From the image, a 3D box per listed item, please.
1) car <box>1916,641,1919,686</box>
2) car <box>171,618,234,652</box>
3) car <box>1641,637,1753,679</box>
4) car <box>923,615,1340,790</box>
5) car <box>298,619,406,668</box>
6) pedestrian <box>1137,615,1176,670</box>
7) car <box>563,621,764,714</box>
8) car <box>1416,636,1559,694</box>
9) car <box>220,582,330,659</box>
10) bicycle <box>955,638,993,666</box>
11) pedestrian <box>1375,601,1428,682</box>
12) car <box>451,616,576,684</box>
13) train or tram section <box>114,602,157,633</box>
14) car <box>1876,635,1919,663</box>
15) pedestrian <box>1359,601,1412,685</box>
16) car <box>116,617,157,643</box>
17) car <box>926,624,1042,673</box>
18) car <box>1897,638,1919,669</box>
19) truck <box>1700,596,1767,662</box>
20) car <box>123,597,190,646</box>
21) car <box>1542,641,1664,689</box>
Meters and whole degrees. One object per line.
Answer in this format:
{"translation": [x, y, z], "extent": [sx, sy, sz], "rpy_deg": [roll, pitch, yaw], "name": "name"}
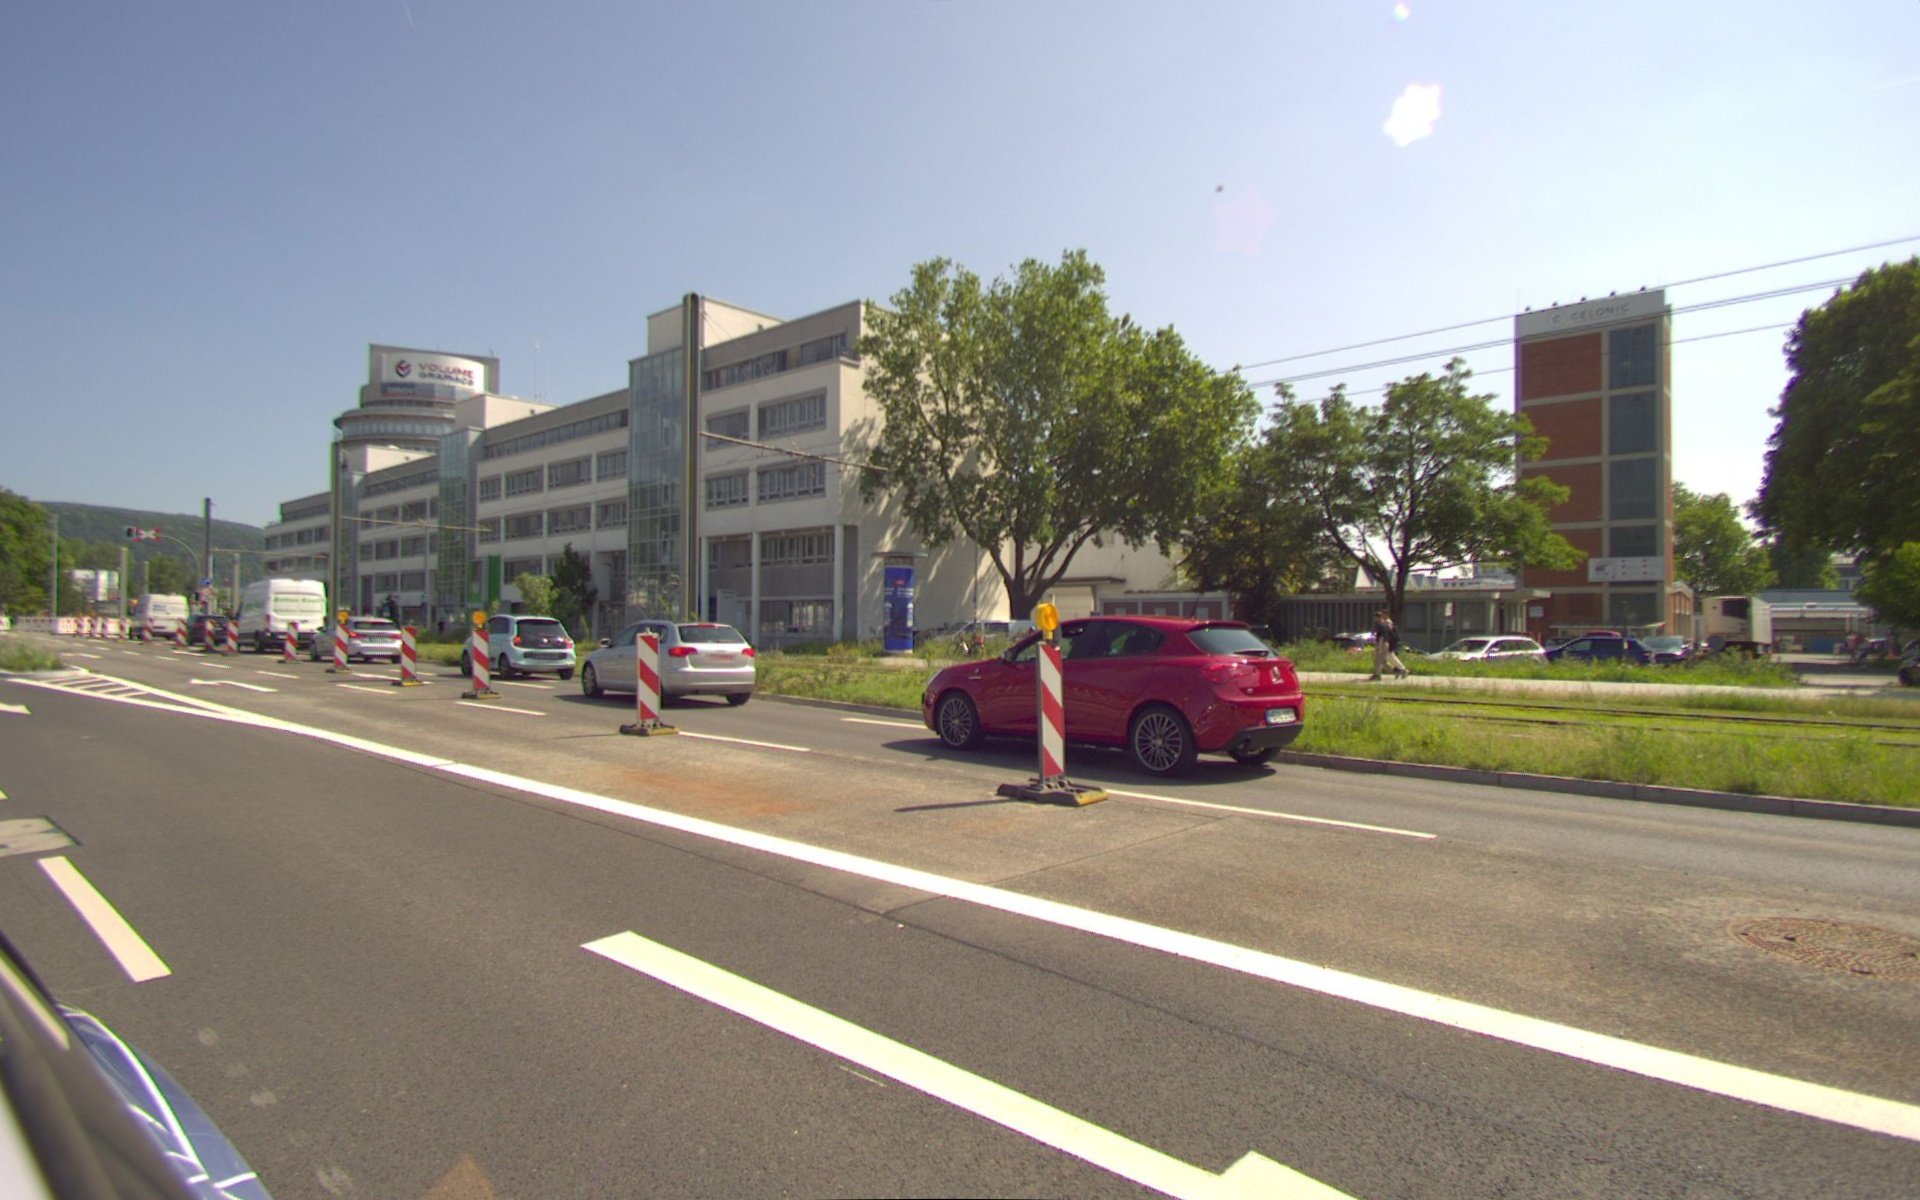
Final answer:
{"translation": [30.985, 2.011, 30.856], "extent": [1.534, 1.468, 3.720], "rpy_deg": [-1, -1, 25], "name": "car"}
{"translation": [-35.142, 1.607, 46.889], "extent": [4.192, 1.468, 1.528], "rpy_deg": [-1, -4, 43], "name": "car"}
{"translation": [28.267, 2.206, 38.842], "extent": [3.344, 1.464, 1.521], "rpy_deg": [-1, 0, 41], "name": "car"}
{"translation": [1.561, 0.883, 10.240], "extent": [1.562, 1.427, 4.001], "rpy_deg": [3, -3, -45], "name": "car"}
{"translation": [-19.447, 1.361, 32.290], "extent": [4.467, 1.454, 1.656], "rpy_deg": [-1, -3, 42], "name": "car"}
{"translation": [5.907, 1.260, 30.421], "extent": [0.805, 1.588, 0.827], "rpy_deg": [-1, 0, -43], "name": "pedestrian"}
{"translation": [-5.268, 1.091, 17.640], "extent": [1.561, 1.427, 4.300], "rpy_deg": [2, -2, -43], "name": "car"}
{"translation": [16.162, 1.939, 31.073], "extent": [3.632, 1.603, 1.751], "rpy_deg": [-1, 0, 37], "name": "car"}
{"translation": [-26.641, 0.800, 39.261], "extent": [5.985, 2.761, 2.055], "rpy_deg": [-1, -3, 42], "name": "car"}
{"translation": [0.522, 1.940, 37.942], "extent": [0.455, 0.993, 1.558], "rpy_deg": [1, -2, -44], "name": "bicycle"}
{"translation": [11.276, 1.045, 25.854], "extent": [0.984, 2.029, 0.829], "rpy_deg": [-2, -1, 45], "name": "pedestrian"}
{"translation": [-11.000, 1.207, 24.837], "extent": [3.623, 1.542, 1.562], "rpy_deg": [-1, -4, 45], "name": "car"}
{"translation": [-98.258, 2.055, 120.522], "extent": [11.784, 3.477, 2.595], "rpy_deg": [-1, 0, 44], "name": "train or tram section"}
{"translation": [53.910, 2.743, 57.010], "extent": [3.344, 1.464, 1.521], "rpy_deg": [-1, 0, 41], "name": "car"}
{"translation": [10.588, 1.046, 25.182], "extent": [0.910, 2.029, 0.972], "rpy_deg": [-1, -1, 45], "name": "pedestrian"}
{"translation": [-52.755, 1.938, 64.796], "extent": [3.979, 1.553, 1.562], "rpy_deg": [-1, -5, 45], "name": "car"}
{"translation": [1.101, 2.212, 47.306], "extent": [4.988, 2.196, 2.121], "rpy_deg": [1, -1, -21], "name": "car"}
{"translation": [48.805, 2.670, 50.150], "extent": [3.344, 1.464, 1.521], "rpy_deg": [-1, 0, 41], "name": "car"}
{"translation": [53.790, 1.858, 70.174], "extent": [2.888, 4.113, 12.471], "rpy_deg": [-1, 0, 41], "name": "truck"}
{"translation": [-45.443, 1.246, 57.164], "extent": [6.195, 2.598, 2.008], "rpy_deg": [-1, -4, 44], "name": "car"}
{"translation": [23.679, 2.353, 37.304], "extent": [3.632, 1.603, 1.751], "rpy_deg": [-1, 0, 37], "name": "car"}
